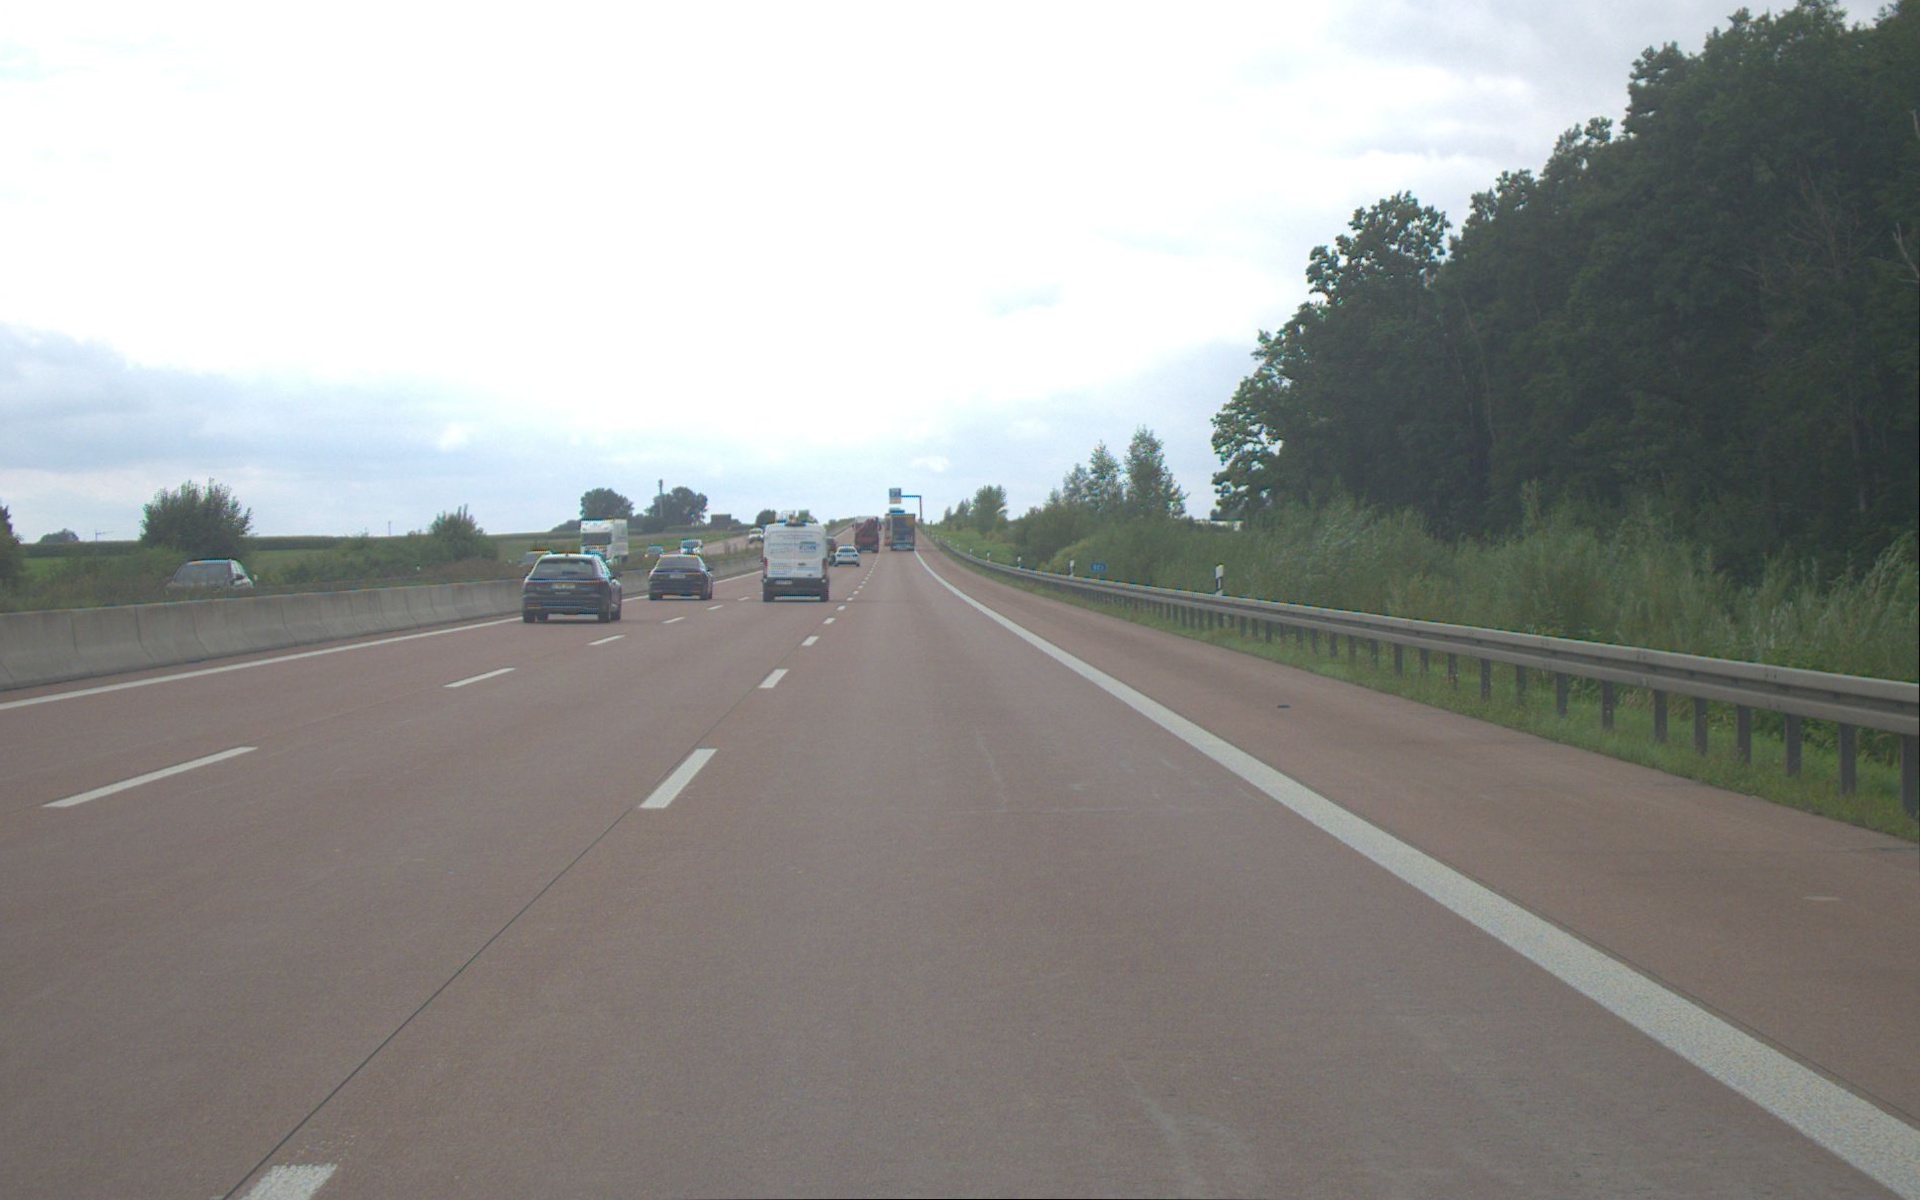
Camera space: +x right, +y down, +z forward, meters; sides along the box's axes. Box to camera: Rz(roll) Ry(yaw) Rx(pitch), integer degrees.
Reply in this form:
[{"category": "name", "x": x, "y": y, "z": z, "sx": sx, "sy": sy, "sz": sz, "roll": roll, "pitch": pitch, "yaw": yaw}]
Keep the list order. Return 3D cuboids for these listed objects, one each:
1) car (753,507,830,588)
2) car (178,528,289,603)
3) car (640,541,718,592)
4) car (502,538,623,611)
[{"category": "car", "x": -5.316, "y": -1.700, "z": 109.311, "sx": 2.137, "sy": 2.498, "sz": 7.132, "roll": 0, "pitch": 1, "yaw": 0}, {"category": "car", "x": -19.381, "y": -0.936, "z": 91.857, "sx": 1.993, "sy": 1.758, "sz": 4.000, "roll": 6, "pitch": 1, "yaw": -1}, {"category": "car", "x": -9.049, "y": -1.103, "z": 111.012, "sx": 2.085, "sy": 1.545, "sz": 5.674, "roll": 1, "pitch": 1, "yaw": 0}, {"category": "car", "x": -8.613, "y": -0.582, "z": 74.892, "sx": 2.059, "sy": 1.486, "sz": 5.453, "roll": 0, "pitch": 1, "yaw": -1}]
